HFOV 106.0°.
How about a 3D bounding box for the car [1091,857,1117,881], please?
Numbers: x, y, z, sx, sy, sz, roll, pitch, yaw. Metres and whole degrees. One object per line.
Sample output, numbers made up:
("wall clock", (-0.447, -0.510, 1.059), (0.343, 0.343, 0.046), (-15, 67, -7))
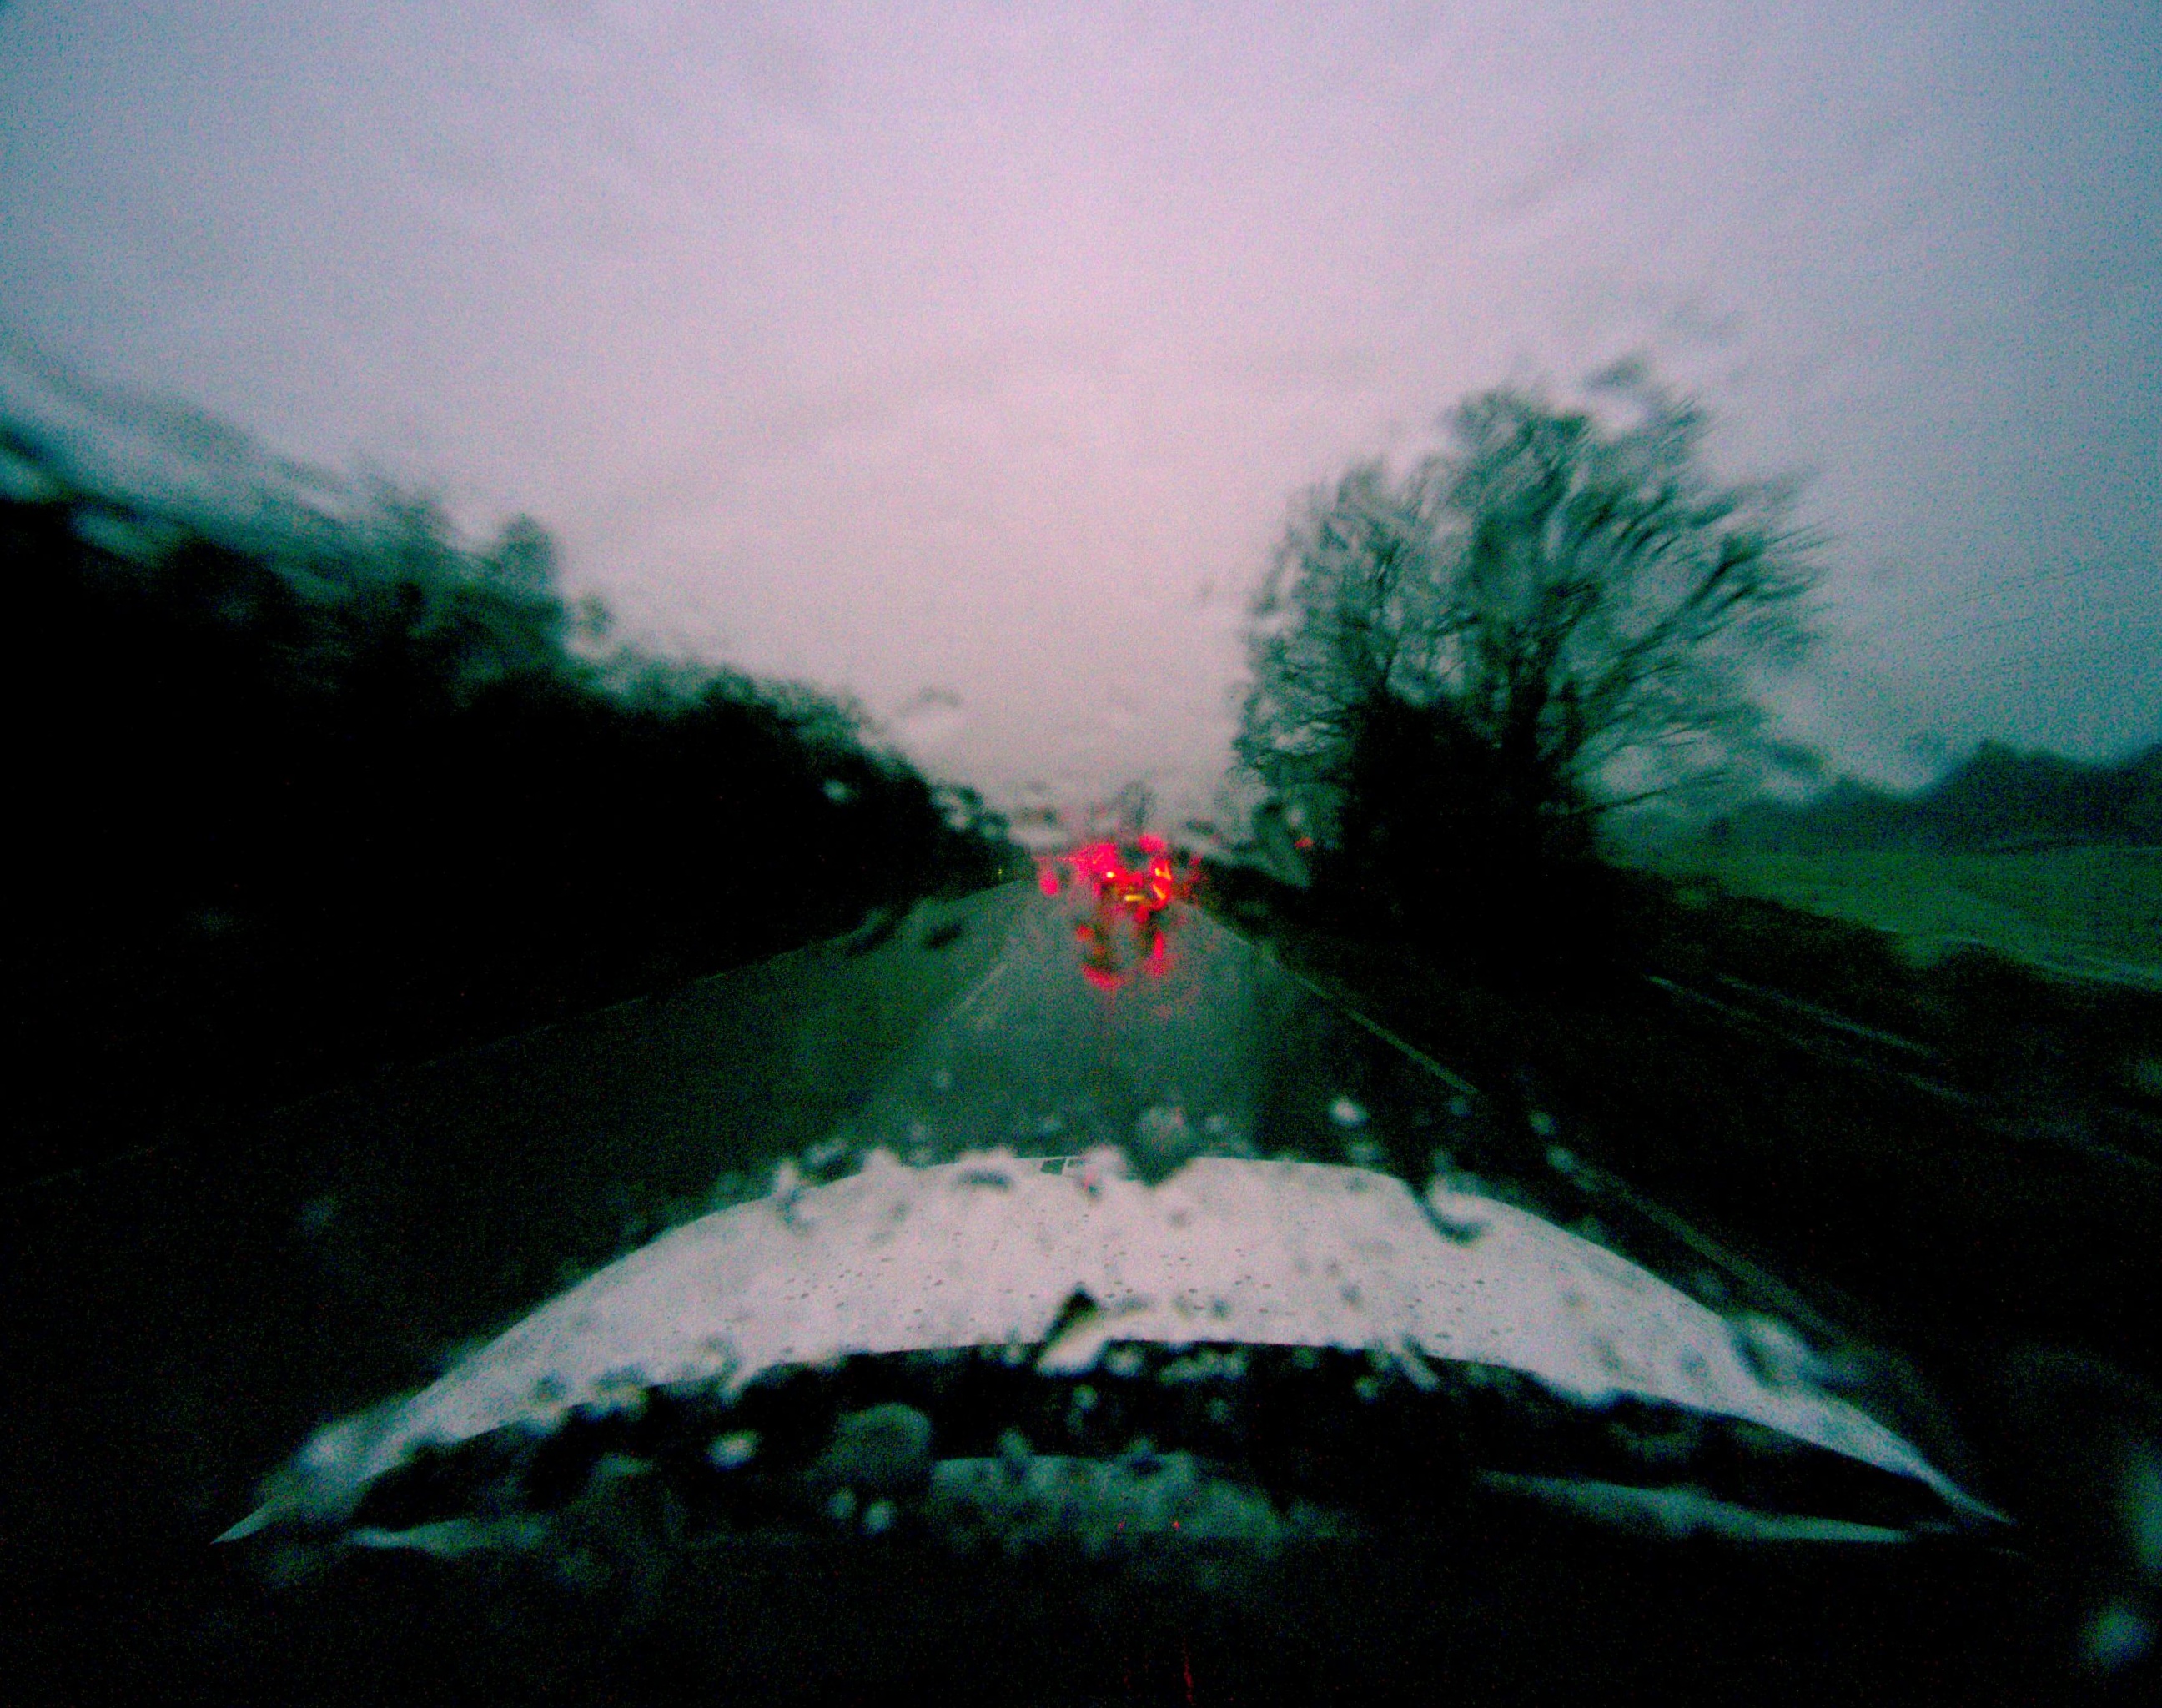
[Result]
("car", (1.383, 0.895, 49.363), (1.541, 1.397, 3.870), (-1, 0, 1))

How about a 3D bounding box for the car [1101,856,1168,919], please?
("car", (1.382, 0.814, 21.591), (1.596, 1.522, 3.872), (-1, 0, 3))

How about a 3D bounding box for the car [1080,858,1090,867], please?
("car", (0.711, 1.398, 138.744), (1.540, 1.397, 3.874), (-1, 0, 4))
